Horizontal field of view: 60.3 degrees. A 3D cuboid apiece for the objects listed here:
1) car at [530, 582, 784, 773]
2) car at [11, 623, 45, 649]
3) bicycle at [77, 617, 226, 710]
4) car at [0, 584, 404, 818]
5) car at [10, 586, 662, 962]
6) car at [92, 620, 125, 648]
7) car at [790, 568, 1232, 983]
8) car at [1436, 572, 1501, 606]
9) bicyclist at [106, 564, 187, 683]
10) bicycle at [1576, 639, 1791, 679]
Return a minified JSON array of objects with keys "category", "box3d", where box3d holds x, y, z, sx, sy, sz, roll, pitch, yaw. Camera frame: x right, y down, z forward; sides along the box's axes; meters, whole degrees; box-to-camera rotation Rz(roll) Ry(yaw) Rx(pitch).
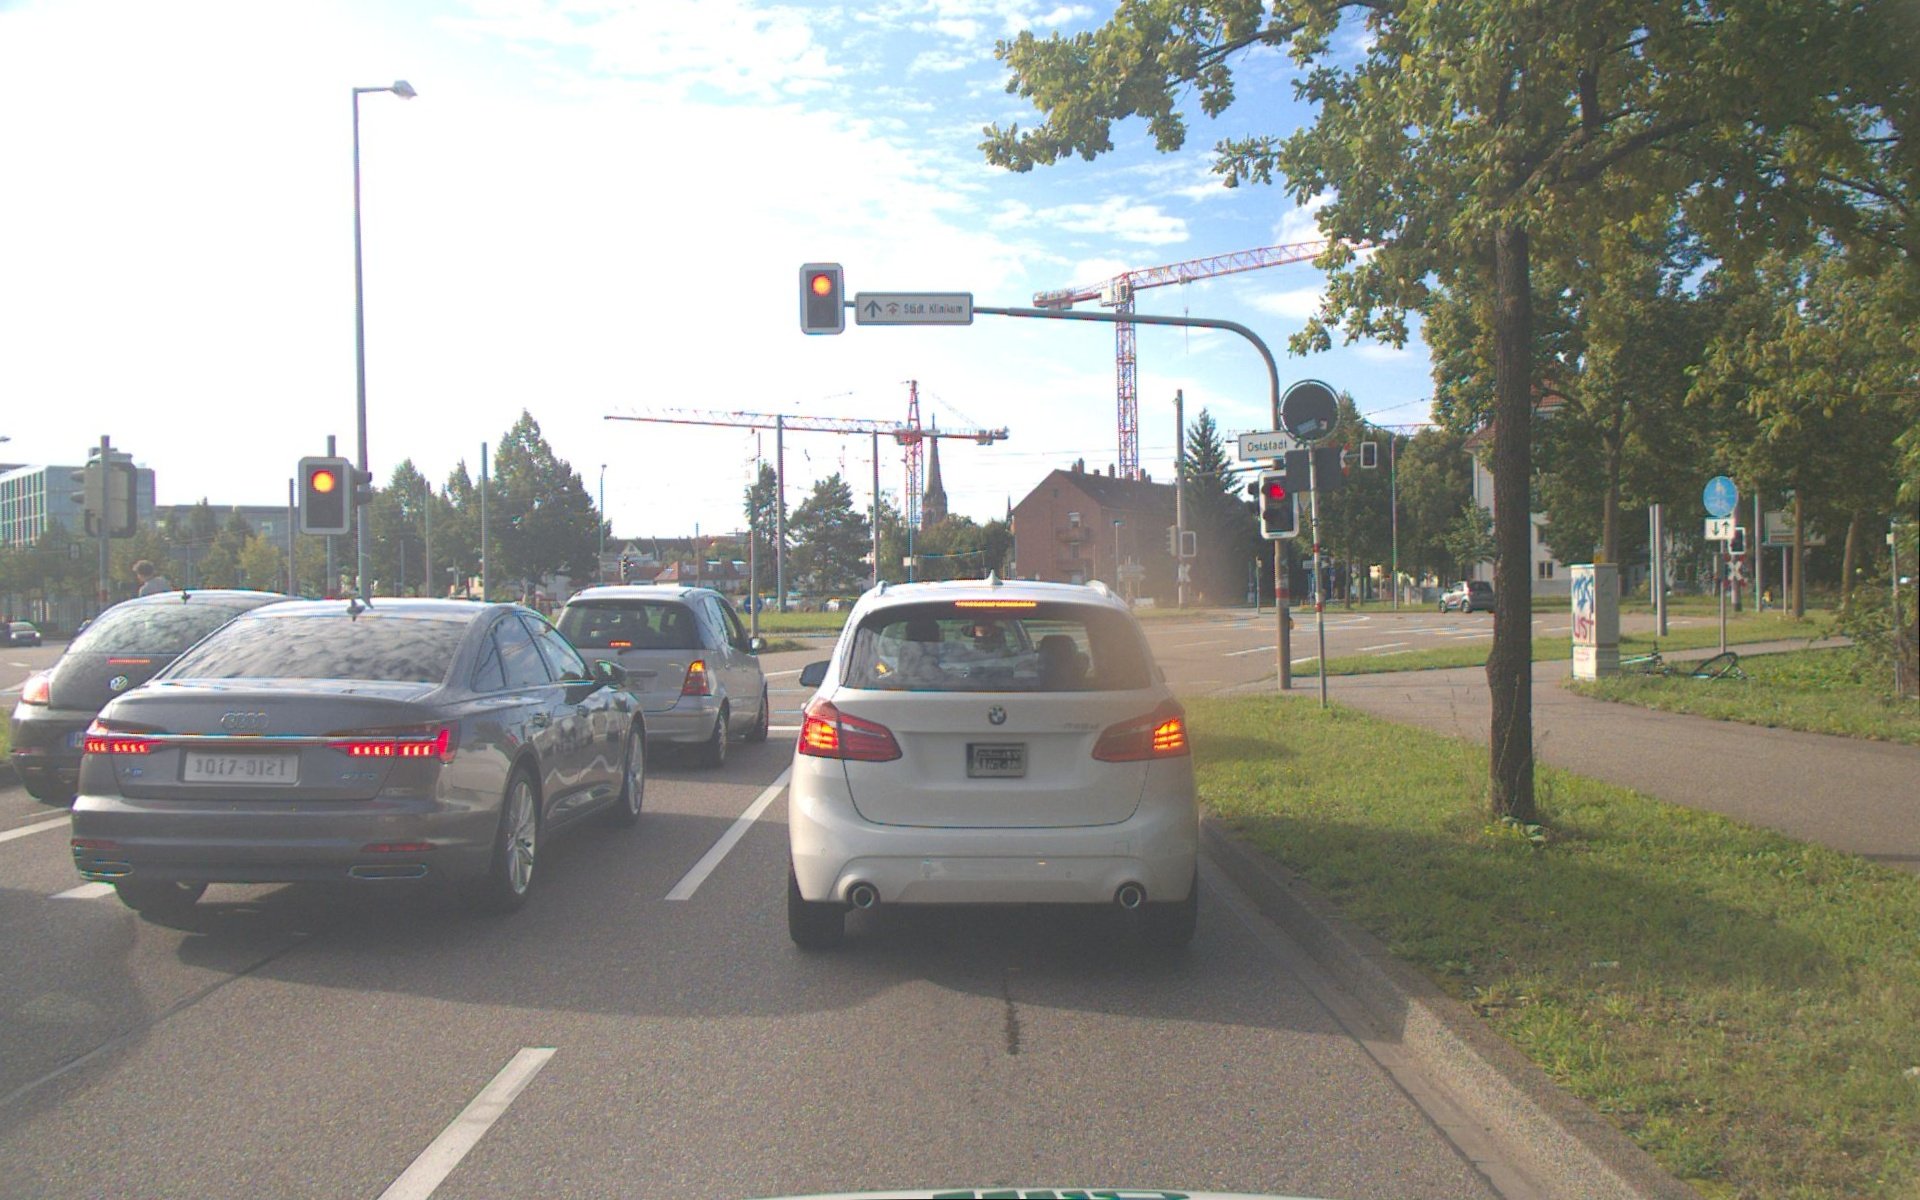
[{"category":"car","box3d":[-2.737,0.637,15.781,1.694,1.585,4.057,0,0,-1]},{"category":"car","box3d":[-54.593,2.087,96.944,1.574,1.440,3.636,-1,0,-28]},{"category":"bicycle","box3d":[-10.896,0.843,22.344,1.698,1.184,0.653,-1,0,-17]},{"category":"car","box3d":[-5.777,0.671,12.919,1.646,1.549,3.809,0,0,-1]},{"category":"car","box3d":[-2.926,0.712,8.981,1.851,1.509,4.612,0,0,-1]},{"category":"car","box3d":[-49.311,1.975,95.843,1.596,1.490,3.699,-1,1,-26]},{"category":"car","box3d":[0.165,0.667,8.371,1.694,1.585,4.057,0,0,-1]},{"category":"car","box3d":[24.588,-0.541,80.067,1.544,1.601,3.185,0,1,-16]},{"category":"bicyclist","box3d":[-10.970,0.311,22.324,0.835,1.553,0.737,-1,0,-17]},{"category":"bicycle","box3d":[9.498,0.763,21.874,1.382,0.392,2.569,-1,0,-12]}]
